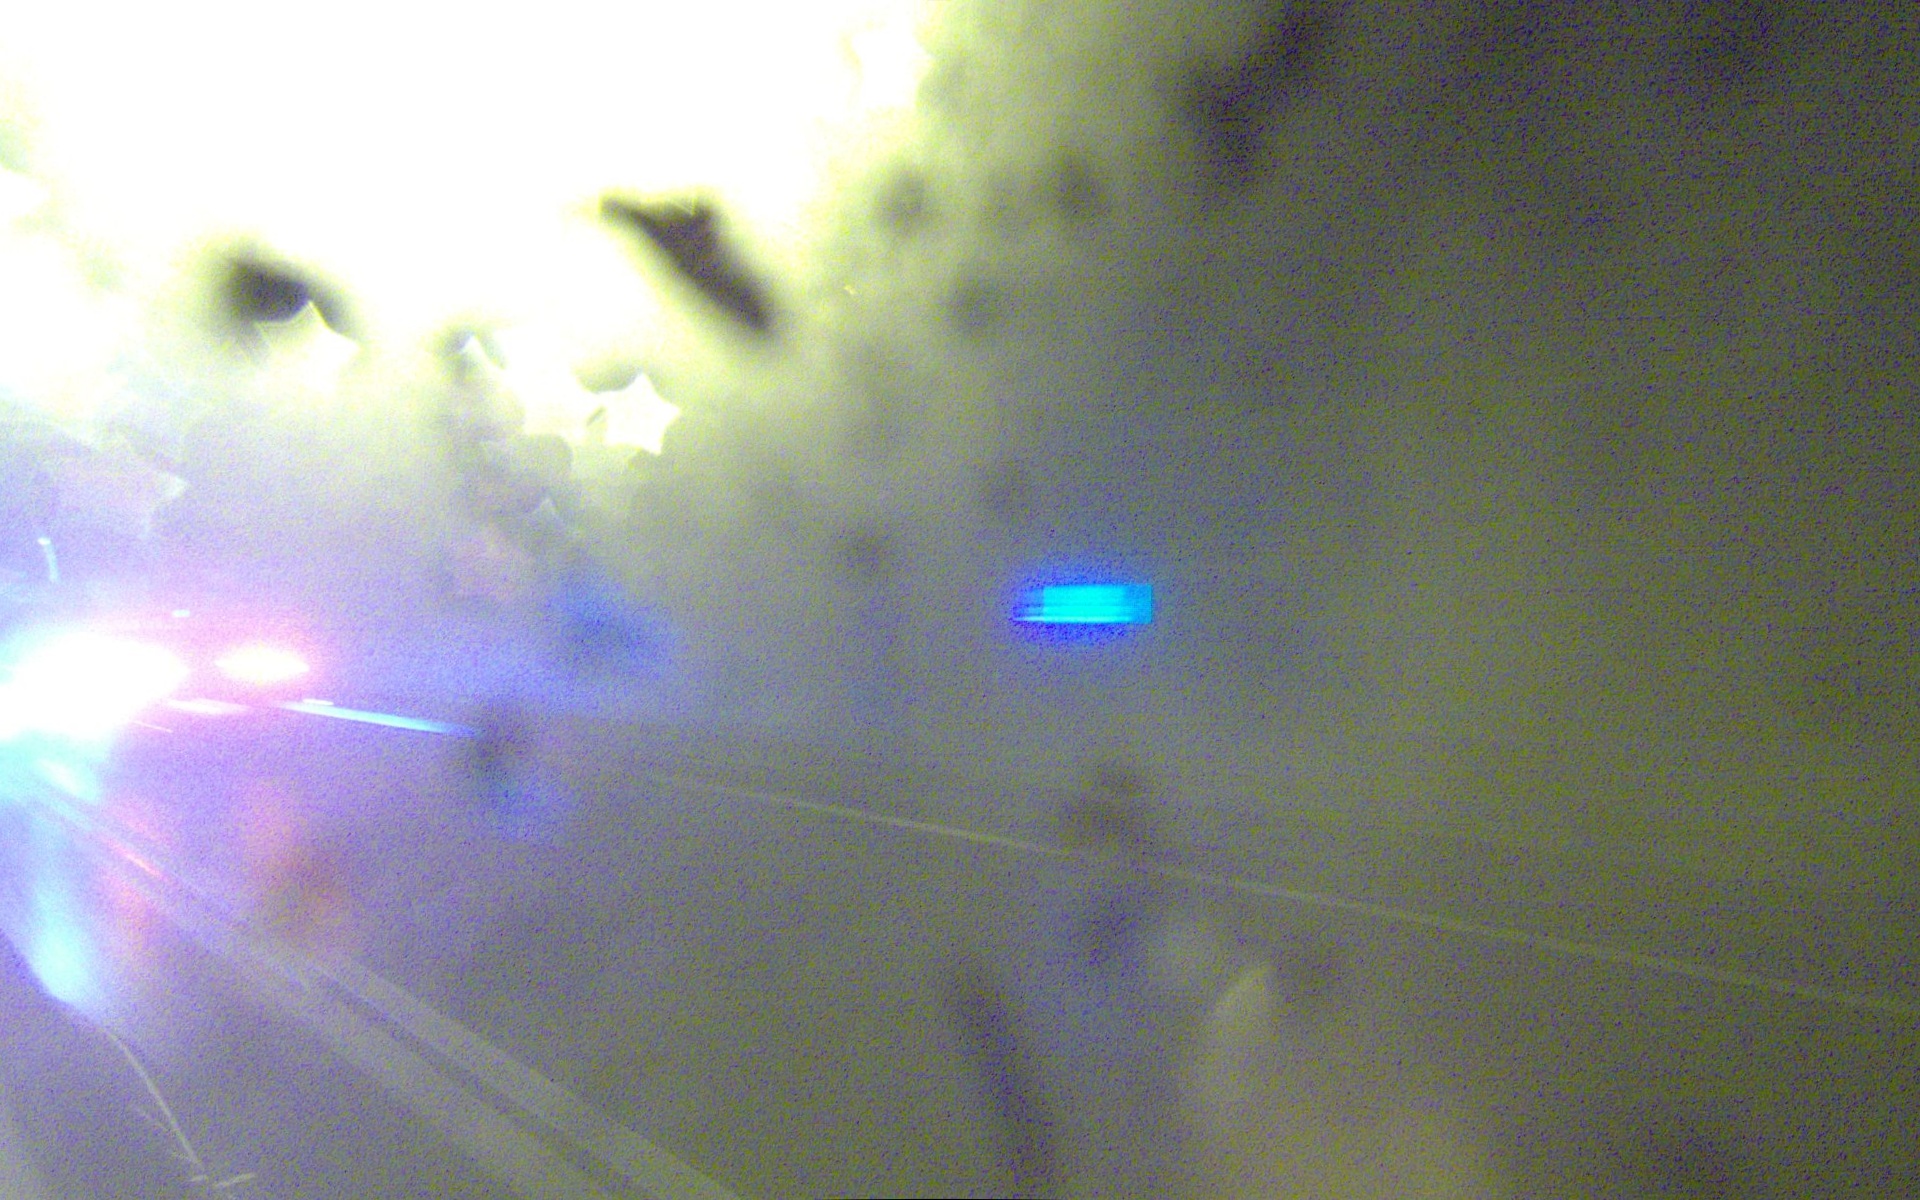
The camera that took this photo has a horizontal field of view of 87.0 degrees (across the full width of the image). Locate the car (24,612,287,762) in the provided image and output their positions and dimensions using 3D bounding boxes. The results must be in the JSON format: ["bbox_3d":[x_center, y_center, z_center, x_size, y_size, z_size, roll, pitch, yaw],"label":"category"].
[{"bbox_3d":[-9.317,0.874,11.609,3.997,1.408,1.613,-1,-1,40],"label":"car"}]
